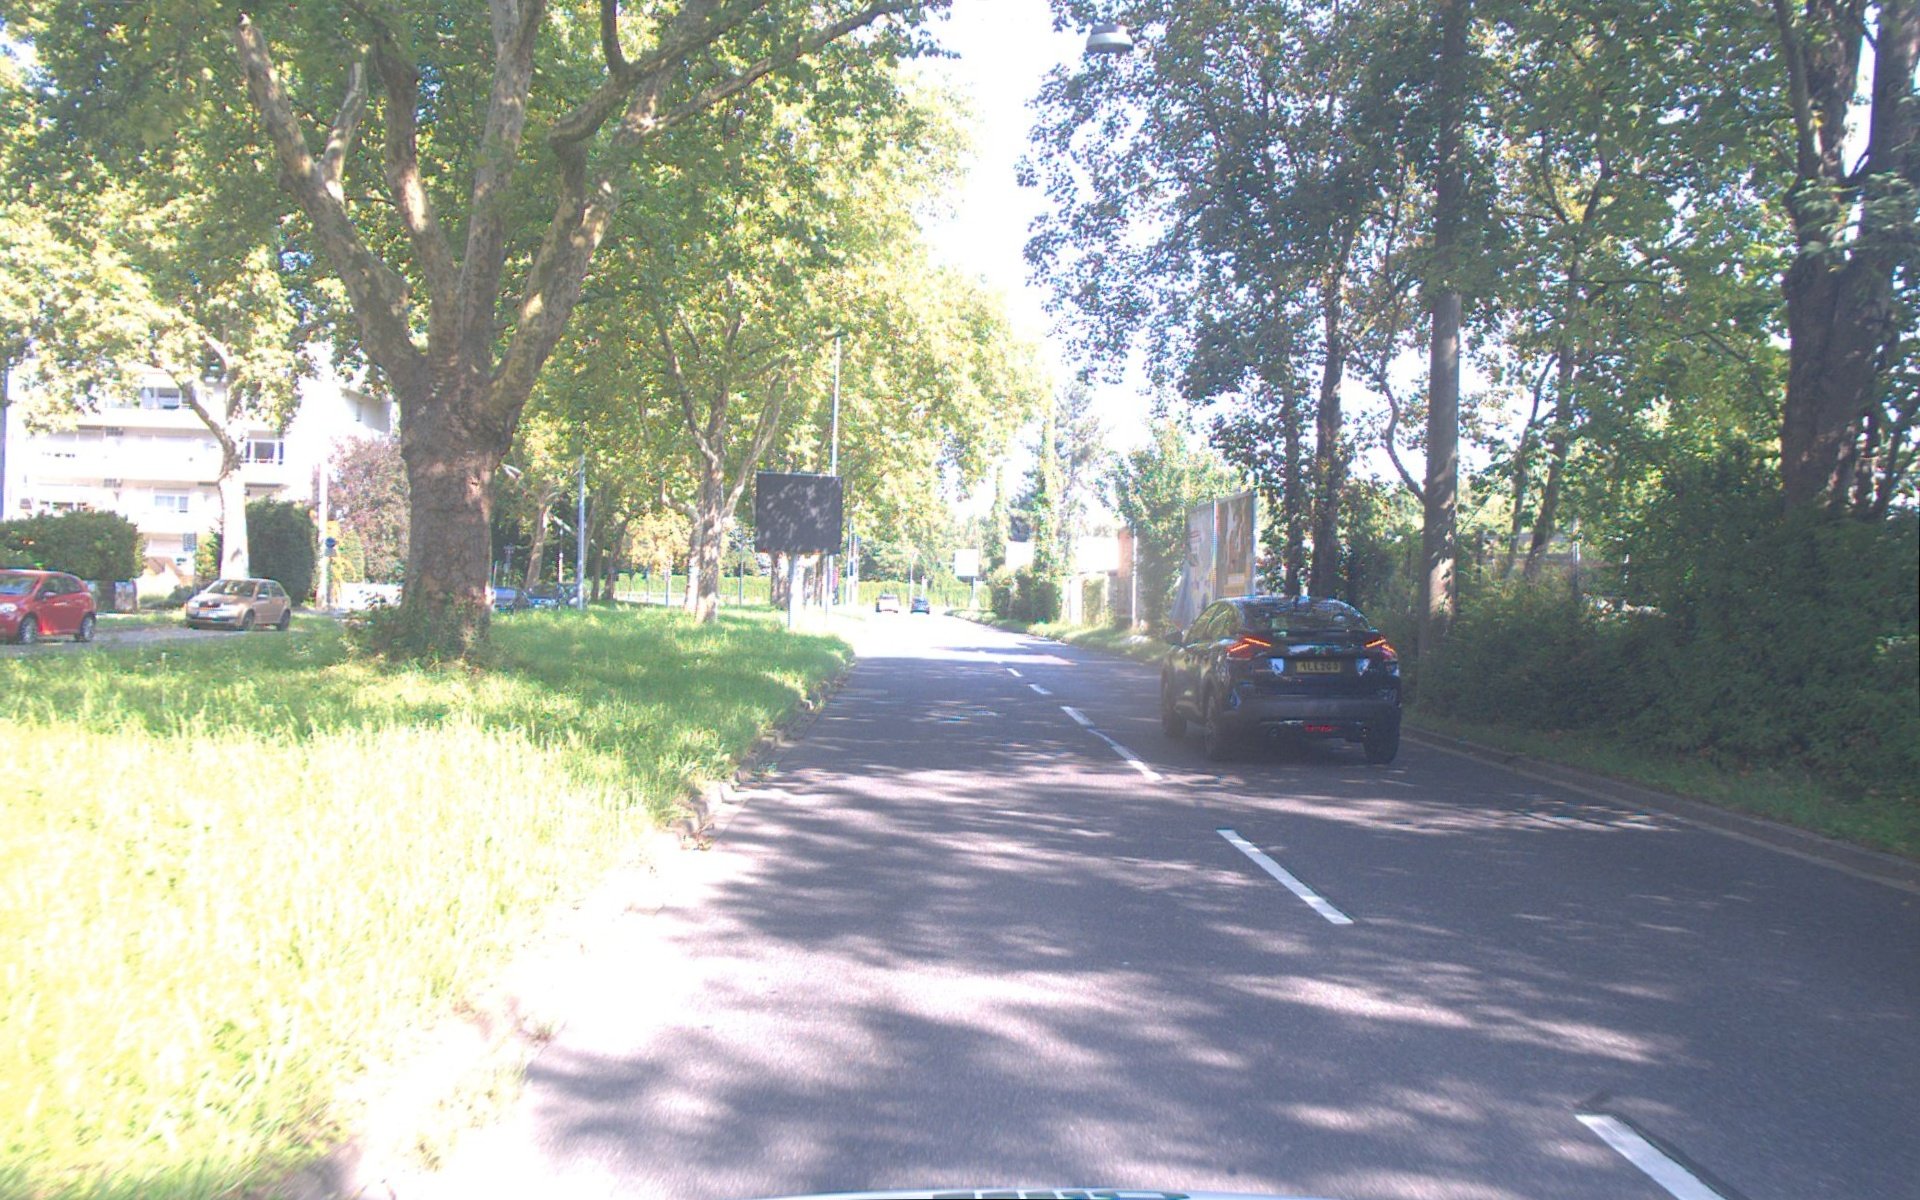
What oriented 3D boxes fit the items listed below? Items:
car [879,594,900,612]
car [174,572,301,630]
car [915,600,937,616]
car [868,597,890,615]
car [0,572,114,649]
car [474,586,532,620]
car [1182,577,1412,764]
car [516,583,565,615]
[{"bbox_3d":[-6.022,0.286,141.521,1.653,1.487,3.998,2,0,-2],"label":"car"},{"bbox_3d":[-20.011,0.016,45.983,1.765,1.455,4.063,2,0,-1],"label":"car"},{"bbox_3d":[-3.122,0.706,150.469,1.762,1.425,3.997,2,0,-4],"label":"car"},{"bbox_3d":[-7.291,0.534,149.704,1.652,1.487,3.850,2,0,1],"label":"car"},{"bbox_3d":[-19.176,0.184,33.993,1.507,1.477,4.063,2,0,-1],"label":"car"},{"bbox_3d":[-21.683,0.145,78.649,1.665,1.534,4.538,1,0,-2],"label":"car"},{"bbox_3d":[3.241,0.630,16.631,1.611,1.616,4.256,1,0,3],"label":"car"},{"bbox_3d":[-22.026,-0.068,86.929,1.665,1.595,3.998,1,0,-2],"label":"car"}]
